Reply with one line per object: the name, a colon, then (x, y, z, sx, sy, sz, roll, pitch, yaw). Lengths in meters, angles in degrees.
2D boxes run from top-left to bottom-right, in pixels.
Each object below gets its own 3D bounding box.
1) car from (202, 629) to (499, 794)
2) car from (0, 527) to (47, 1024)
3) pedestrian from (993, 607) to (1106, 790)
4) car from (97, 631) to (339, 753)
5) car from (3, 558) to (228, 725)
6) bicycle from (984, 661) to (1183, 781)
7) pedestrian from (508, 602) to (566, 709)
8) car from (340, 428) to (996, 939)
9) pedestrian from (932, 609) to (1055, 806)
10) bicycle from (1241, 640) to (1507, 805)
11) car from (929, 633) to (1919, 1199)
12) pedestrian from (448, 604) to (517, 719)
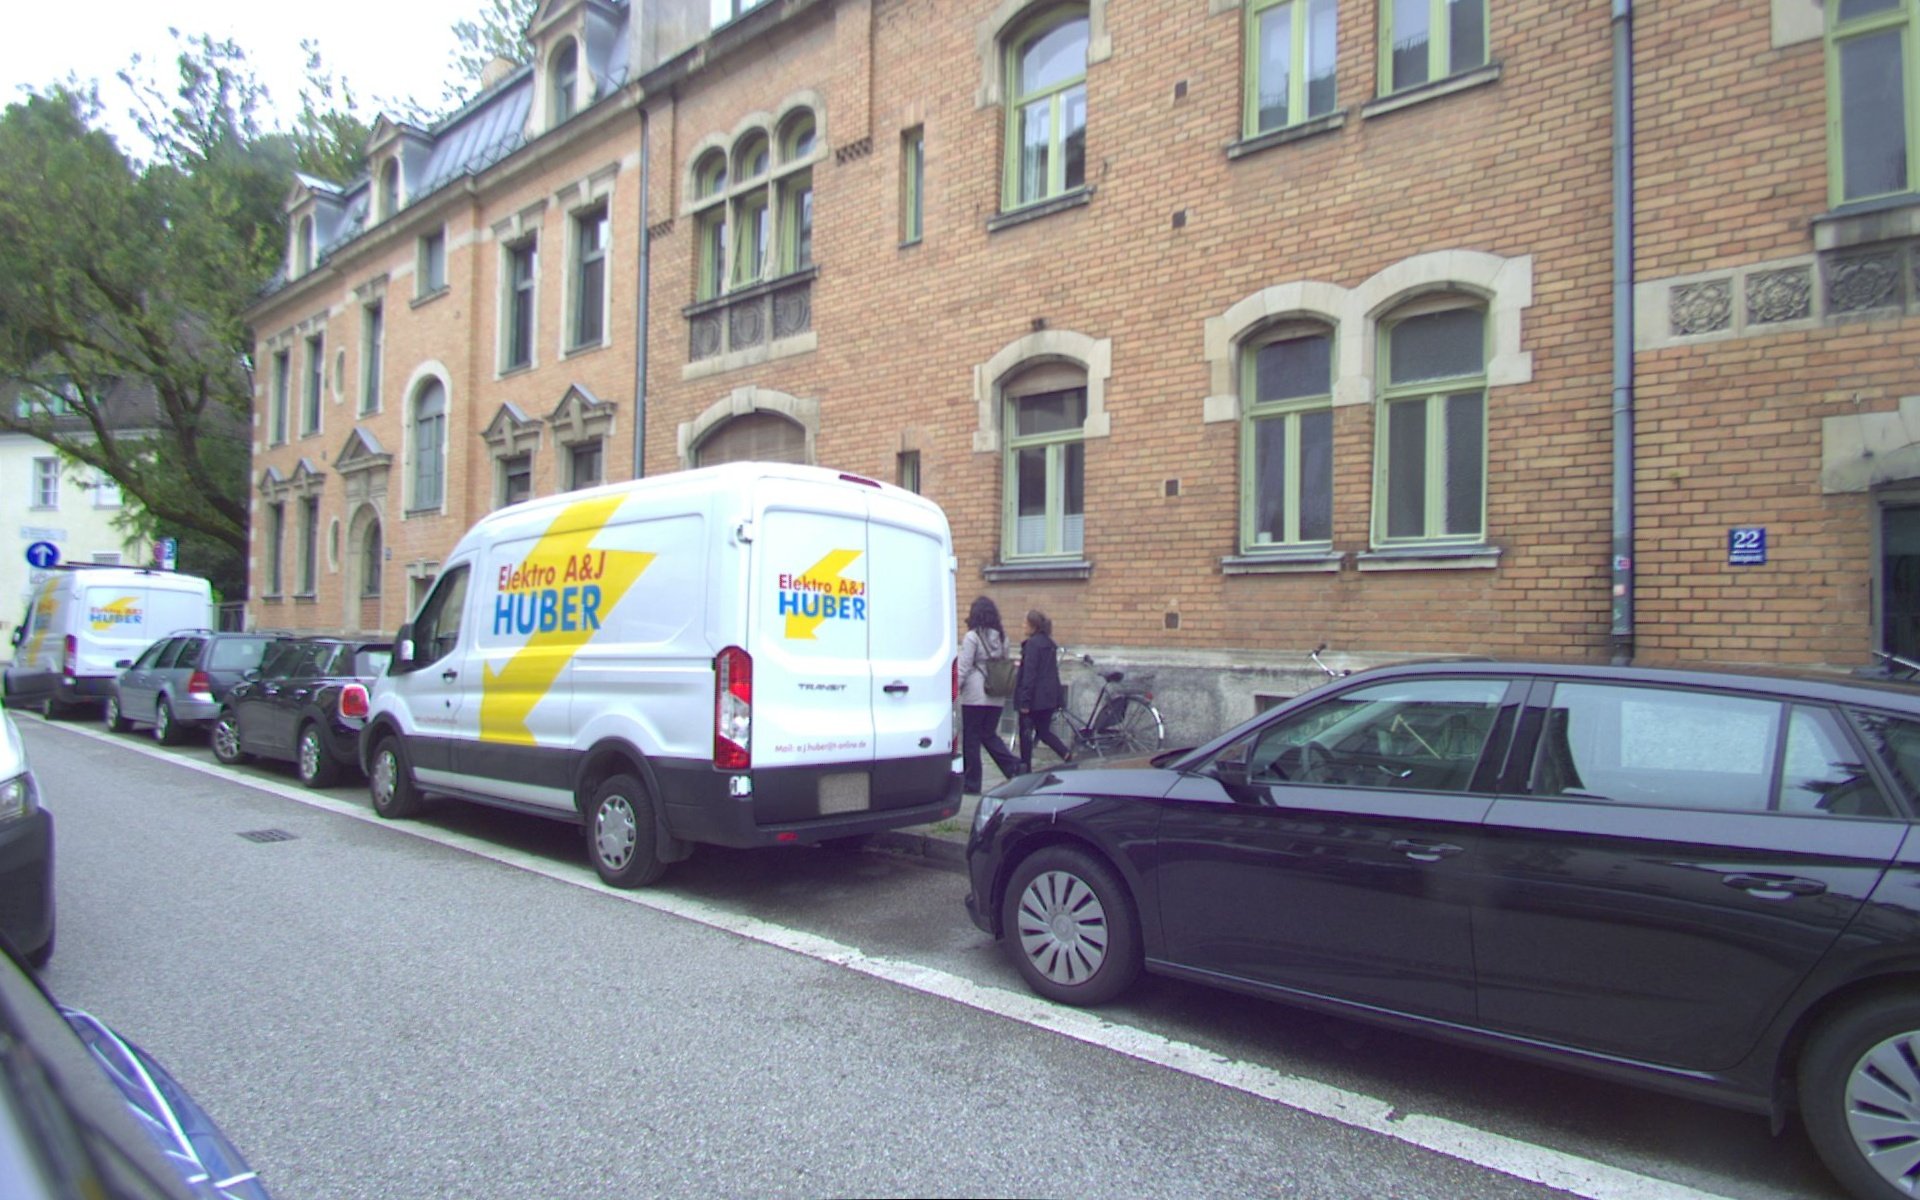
car: (-6.515, 1.070, 10.698, 3.536, 1.454, 1.508, -2, -4, 39)
car: (-5.477, 0.639, 4.333, 3.997, 1.785, 1.753, -1, -3, 40)
pedestrian: (0.795, 0.830, 9.012, 0.727, 1.524, 0.688, -1, 0, 42)
car: (-10.356, 1.191, 14.037, 3.979, 1.454, 1.673, -2, -4, 39)
car: (-14.798, 0.766, 17.663, 4.417, 2.560, 2.092, -2, -6, 40)
bicycle: (1.141, 1.112, 9.700, 1.922, 0.993, 0.496, -2, -1, 40)
pedestrian: (-6.634, 0.869, 15.885, 0.467, 1.645, 0.626, -1, -4, 39)
car: (-2.410, 0.485, 7.393, 5.218, 2.497, 1.961, -1, -4, 40)
pedestrian: (0.278, 0.840, 8.369, 0.727, 1.524, 0.688, -1, 0, 42)
bicycle: (3.212, 0.895, 7.966, 1.826, 1.137, 0.625, -1, -2, 40)
car: (2.005, 0.884, 3.822, 4.140, 1.454, 1.673, -1, -4, 39)
pedestrian: (-7.056, 0.904, 14.964, 0.674, 1.645, 0.626, -1, -4, 39)
